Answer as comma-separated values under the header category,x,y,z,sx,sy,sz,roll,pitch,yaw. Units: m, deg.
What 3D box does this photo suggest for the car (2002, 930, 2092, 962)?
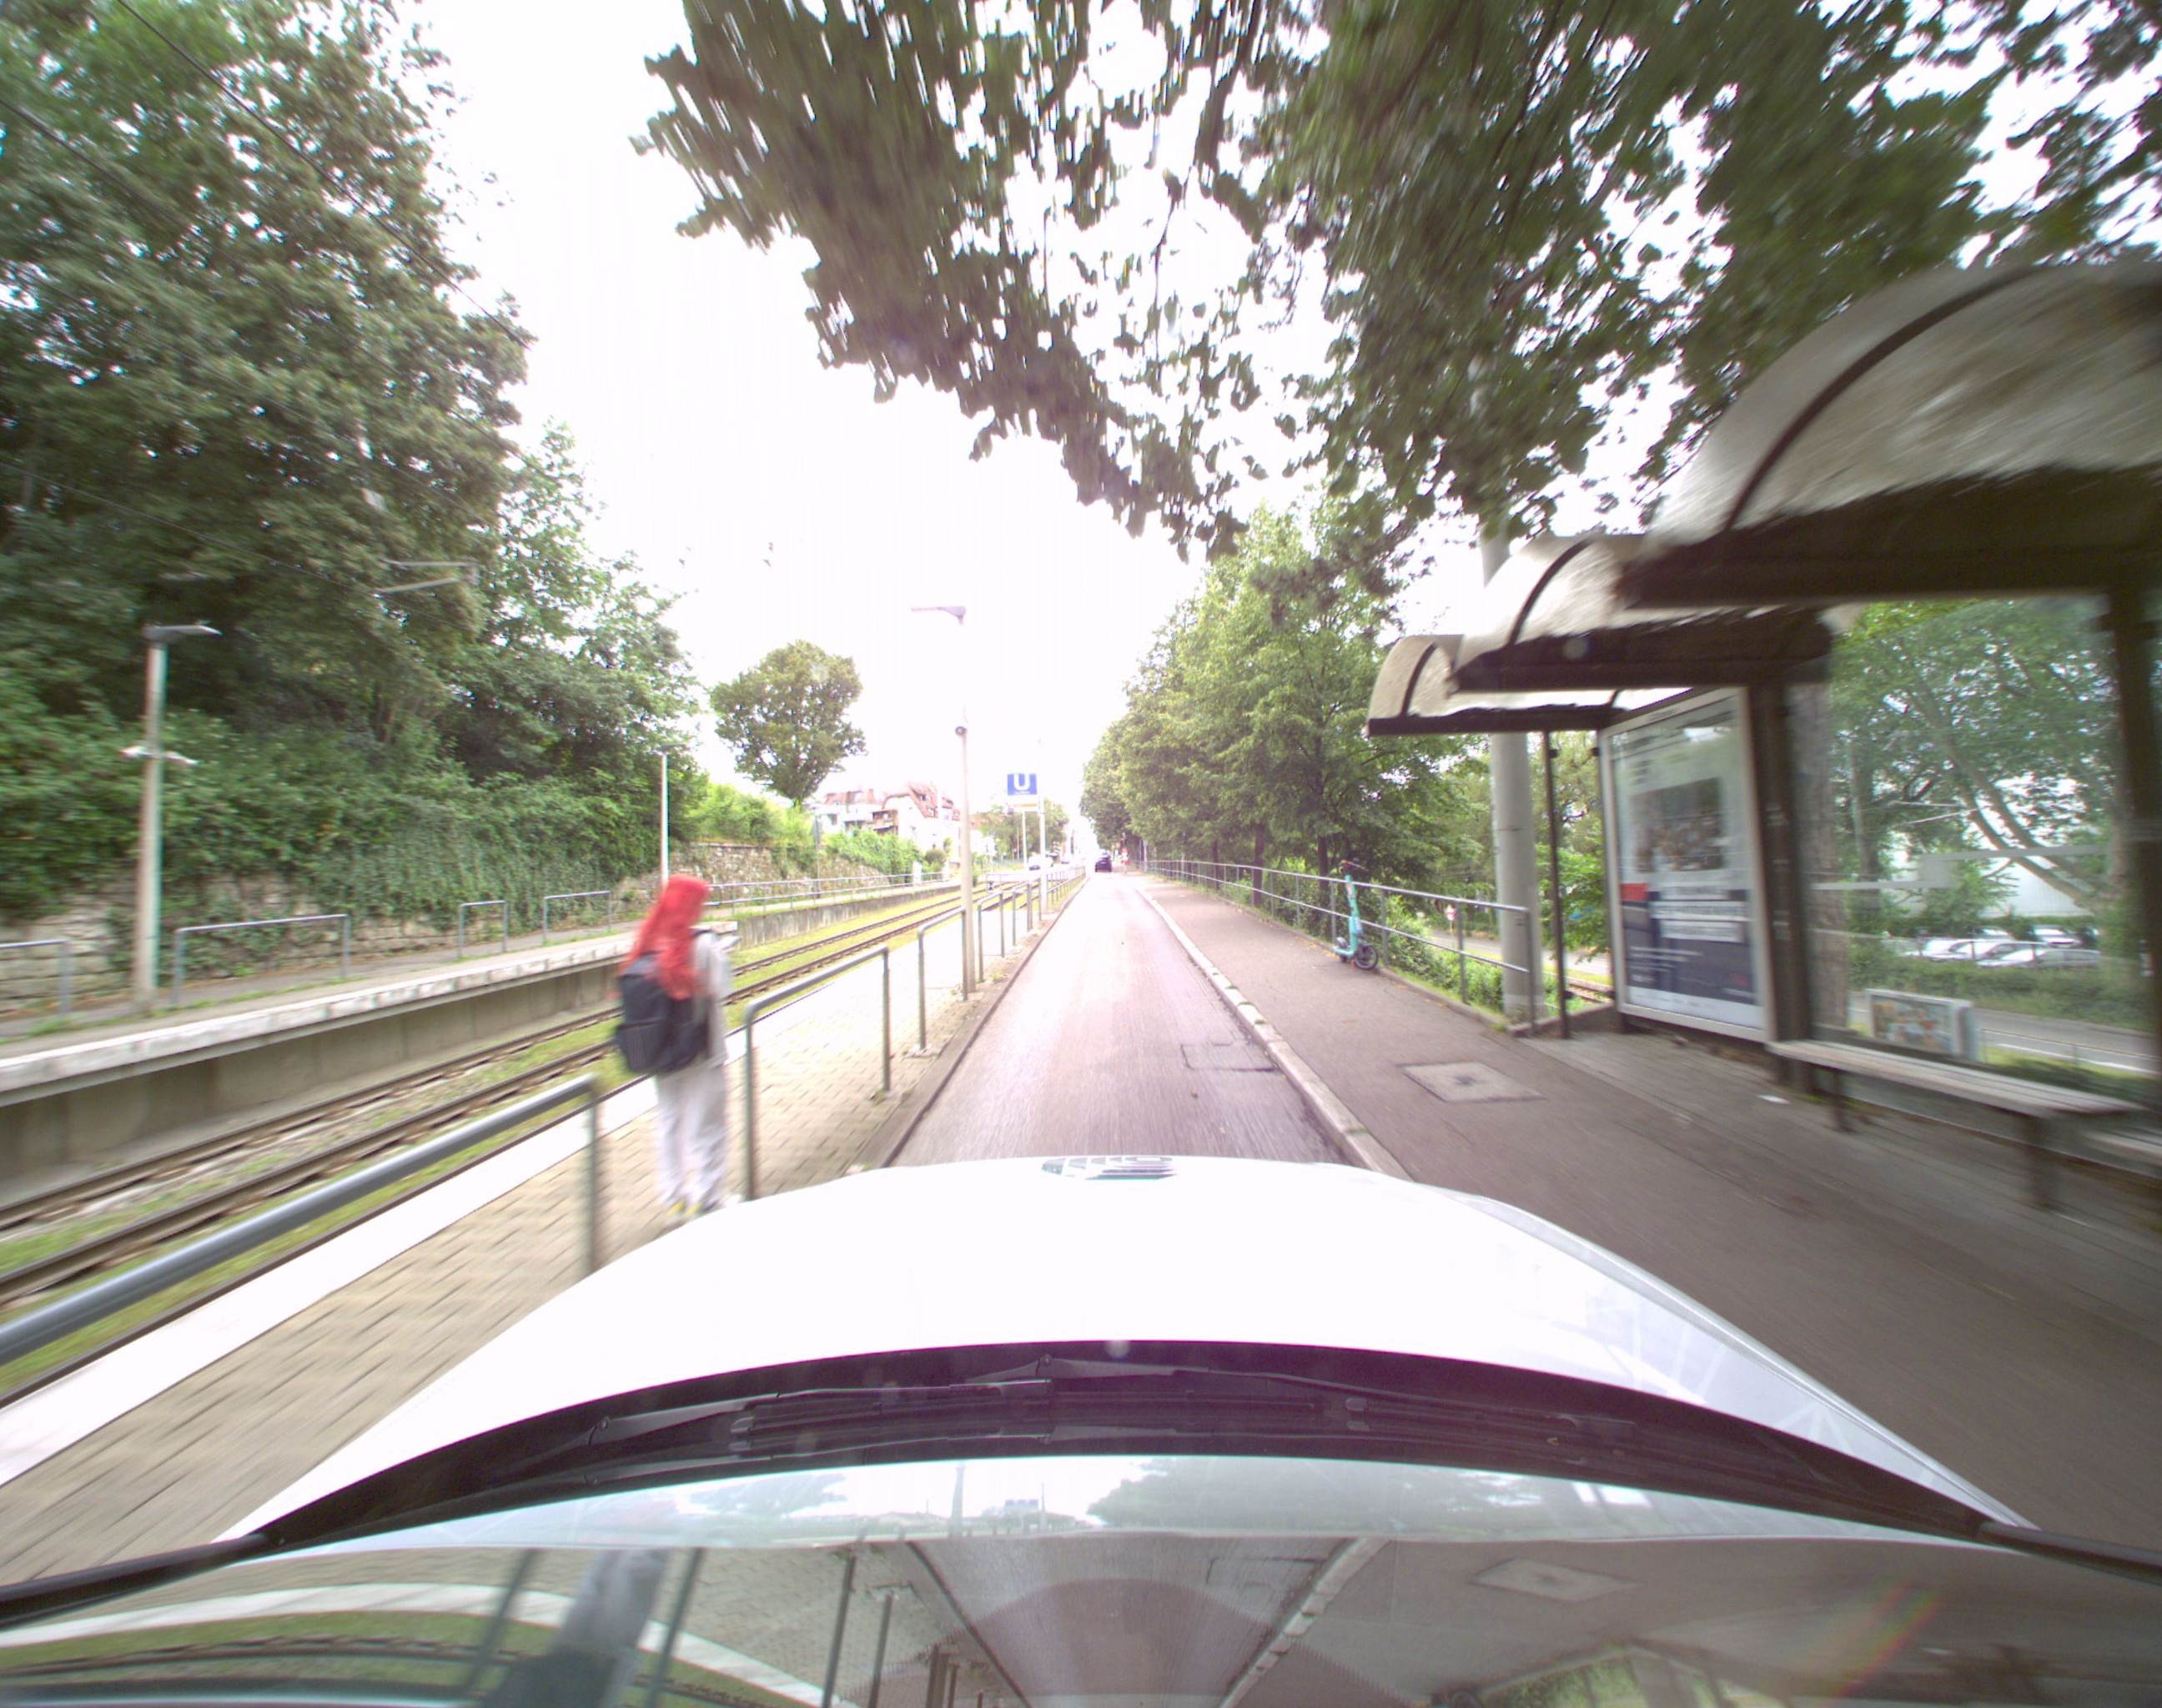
category,x,y,z,sx,sy,sz,roll,pitch,yaw
car,57.001,5.378,48.160,1.974,1.468,4.370,-2,-2,30

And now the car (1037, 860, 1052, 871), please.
category,x,y,z,sx,sy,sz,roll,pitch,yaw
car,-5.615,1.795,126.706,1.878,1.526,4.665,-3,-1,2

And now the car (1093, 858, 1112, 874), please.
category,x,y,z,sx,sy,sz,roll,pitch,yaw
car,2.344,1.253,86.538,1.896,1.615,4.603,-1,0,3

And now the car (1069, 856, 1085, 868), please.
category,x,y,z,sx,sy,sz,roll,pitch,yaw
car,-0.530,1.016,105.860,1.986,1.499,4.313,0,-1,1

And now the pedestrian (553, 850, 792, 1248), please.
category,x,y,z,sx,sy,sz,roll,pitch,yaw
pedestrian,-1.686,0.738,3.476,0.623,1.502,0.739,-1,0,-2

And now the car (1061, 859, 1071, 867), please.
category,x,y,z,sx,sy,sz,roll,pitch,yaw
car,-3.572,2.054,192.538,1.985,1.808,4.003,-1,-1,3

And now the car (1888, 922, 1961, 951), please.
category,x,y,z,sx,sy,sz,roll,pitch,yaw
car,53.351,5.204,51.609,1.974,1.468,4.370,-2,-2,30

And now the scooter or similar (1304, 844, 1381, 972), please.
category,x,y,z,sx,sy,sz,roll,pitch,yaw
scooter or similar,3.039,0.602,9.573,0.428,1.384,1.455,-1,-1,1

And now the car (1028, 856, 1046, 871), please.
category,x,y,z,sx,sy,sz,roll,pitch,yaw
car,-5.980,1.368,112.302,2.029,1.881,4.885,-4,-1,0
